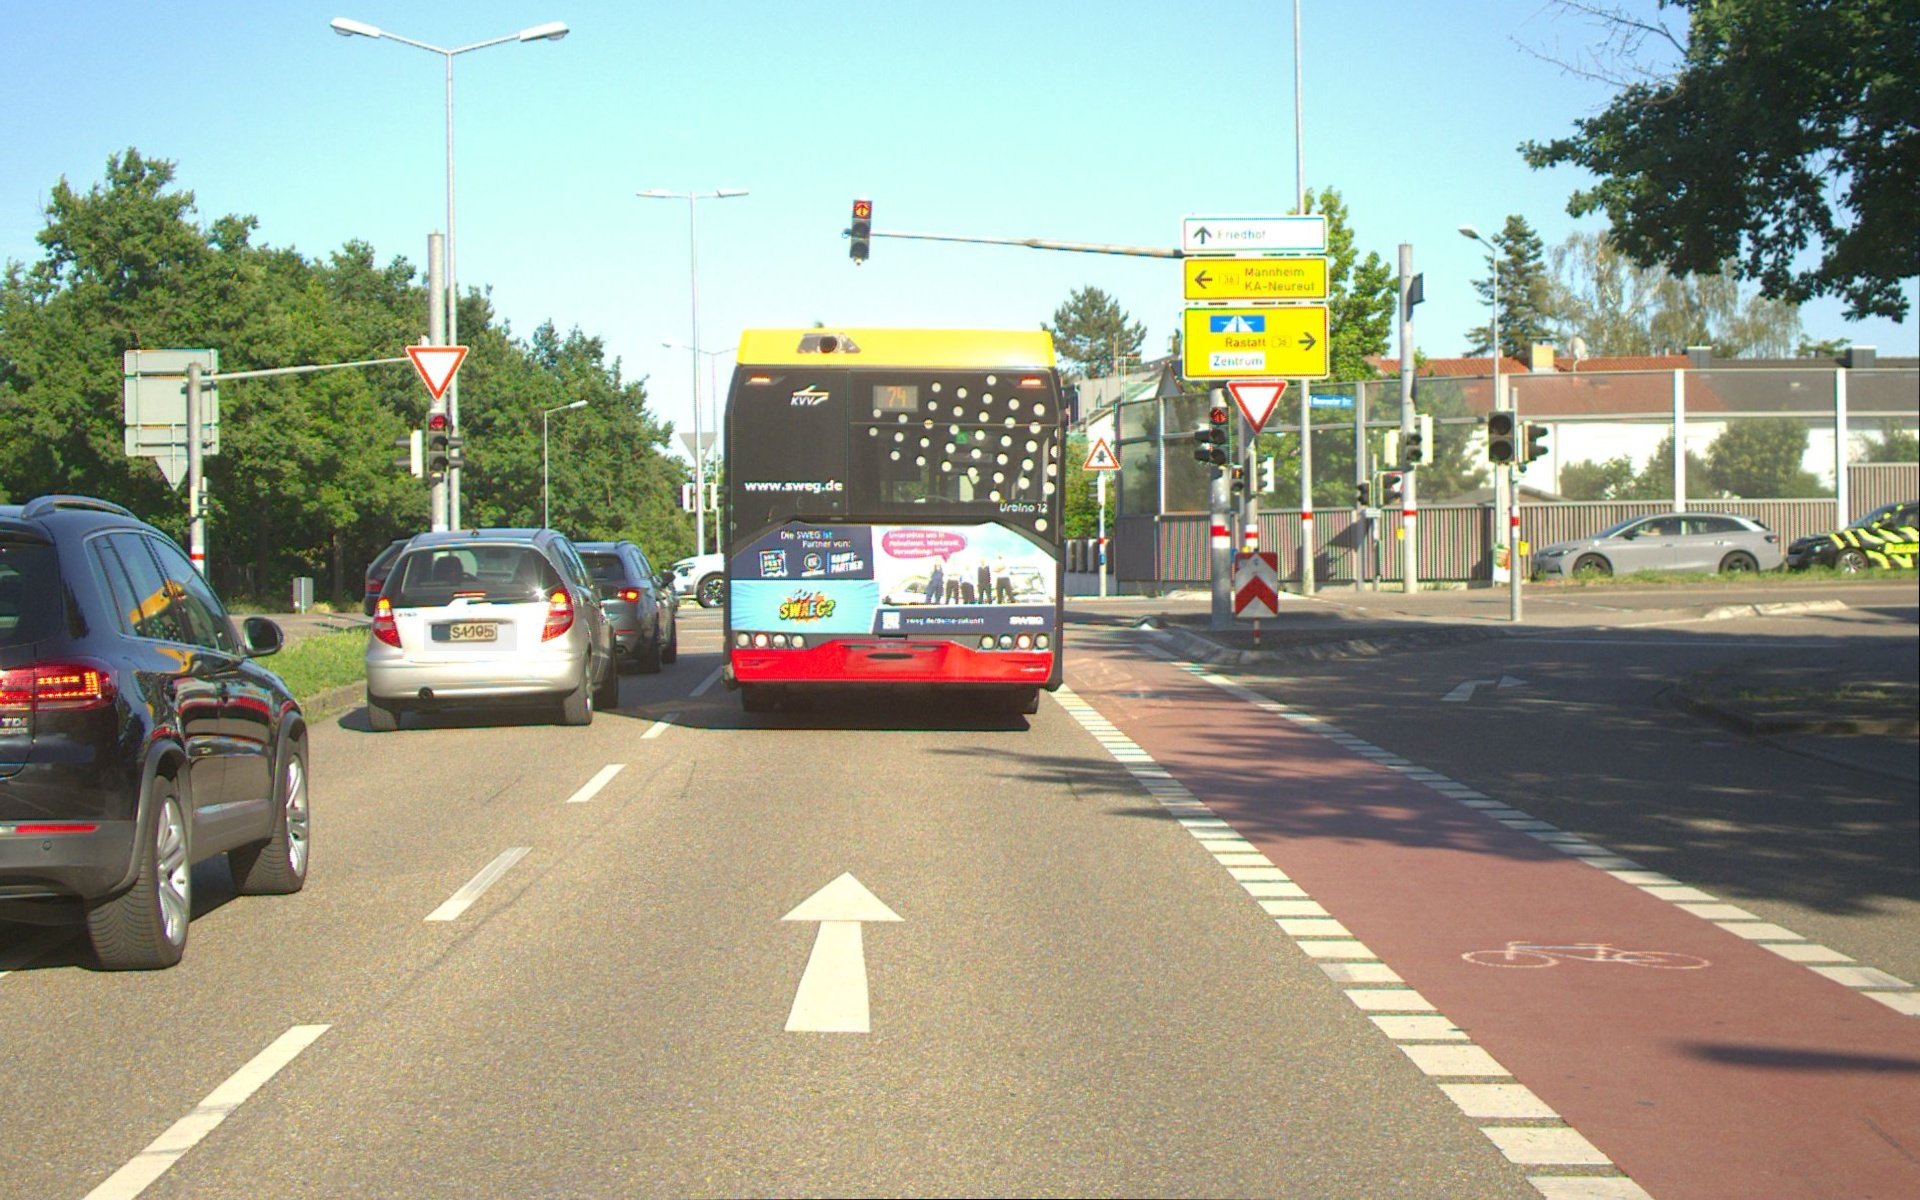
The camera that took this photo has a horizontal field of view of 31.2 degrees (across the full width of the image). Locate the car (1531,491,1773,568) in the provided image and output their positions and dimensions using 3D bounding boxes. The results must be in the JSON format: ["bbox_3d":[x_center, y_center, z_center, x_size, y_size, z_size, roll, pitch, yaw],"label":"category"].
[{"bbox_3d":[13.663,-1.380,67.967,4.413,1.454,1.575,1,0,-3],"label":"car"}]

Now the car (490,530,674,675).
[{"bbox_3d":[-4.071,0.014,37.463,1.588,1.480,3.682,-1,0,0],"label":"car"}]

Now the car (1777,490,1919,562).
[{"bbox_3d":[17.652,-1.374,64.660,4.159,1.298,1.575,1,0,-3],"label":"car"}]

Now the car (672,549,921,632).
[{"bbox_3d":[-3.165,-0.201,66.115,4.701,1.535,2.000,0,1,-4],"label":"car"}]

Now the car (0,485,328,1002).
[{"bbox_3d":[-3.686,0.478,13.137,1.821,1.668,4.003,-2,0,-1],"label":"car"}]

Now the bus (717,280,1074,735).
[{"bbox_3d":[-0.550,-0.803,31.341,2.596,3.323,11.984,1,1,-1],"label":"bus"}]

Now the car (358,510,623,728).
[{"bbox_3d":[-3.835,0.095,28.664,1.753,1.614,4.034,0,2,-2],"label":"car"}]

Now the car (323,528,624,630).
[{"bbox_3d":[-7.405,-0.336,52.677,4.461,1.436,1.683,-1,1,-5],"label":"car"}]

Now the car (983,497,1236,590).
[{"bbox_3d":[2.583,-0.976,60.054,4.220,1.557,1.764,1,0,-5],"label":"car"}]

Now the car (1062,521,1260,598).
[{"bbox_3d":[4.269,-0.874,73.321,3.986,1.606,1.696,-1,1,-6],"label":"car"}]

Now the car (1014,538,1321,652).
[{"bbox_3d":[2.490,-0.075,40.838,3.523,1.297,1.574,0,2,8],"label":"car"}]

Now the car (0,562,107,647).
[{"bbox_3d":[-18.519,0.082,64.398,4.701,1.535,2.000,0,1,-6],"label":"car"}]
